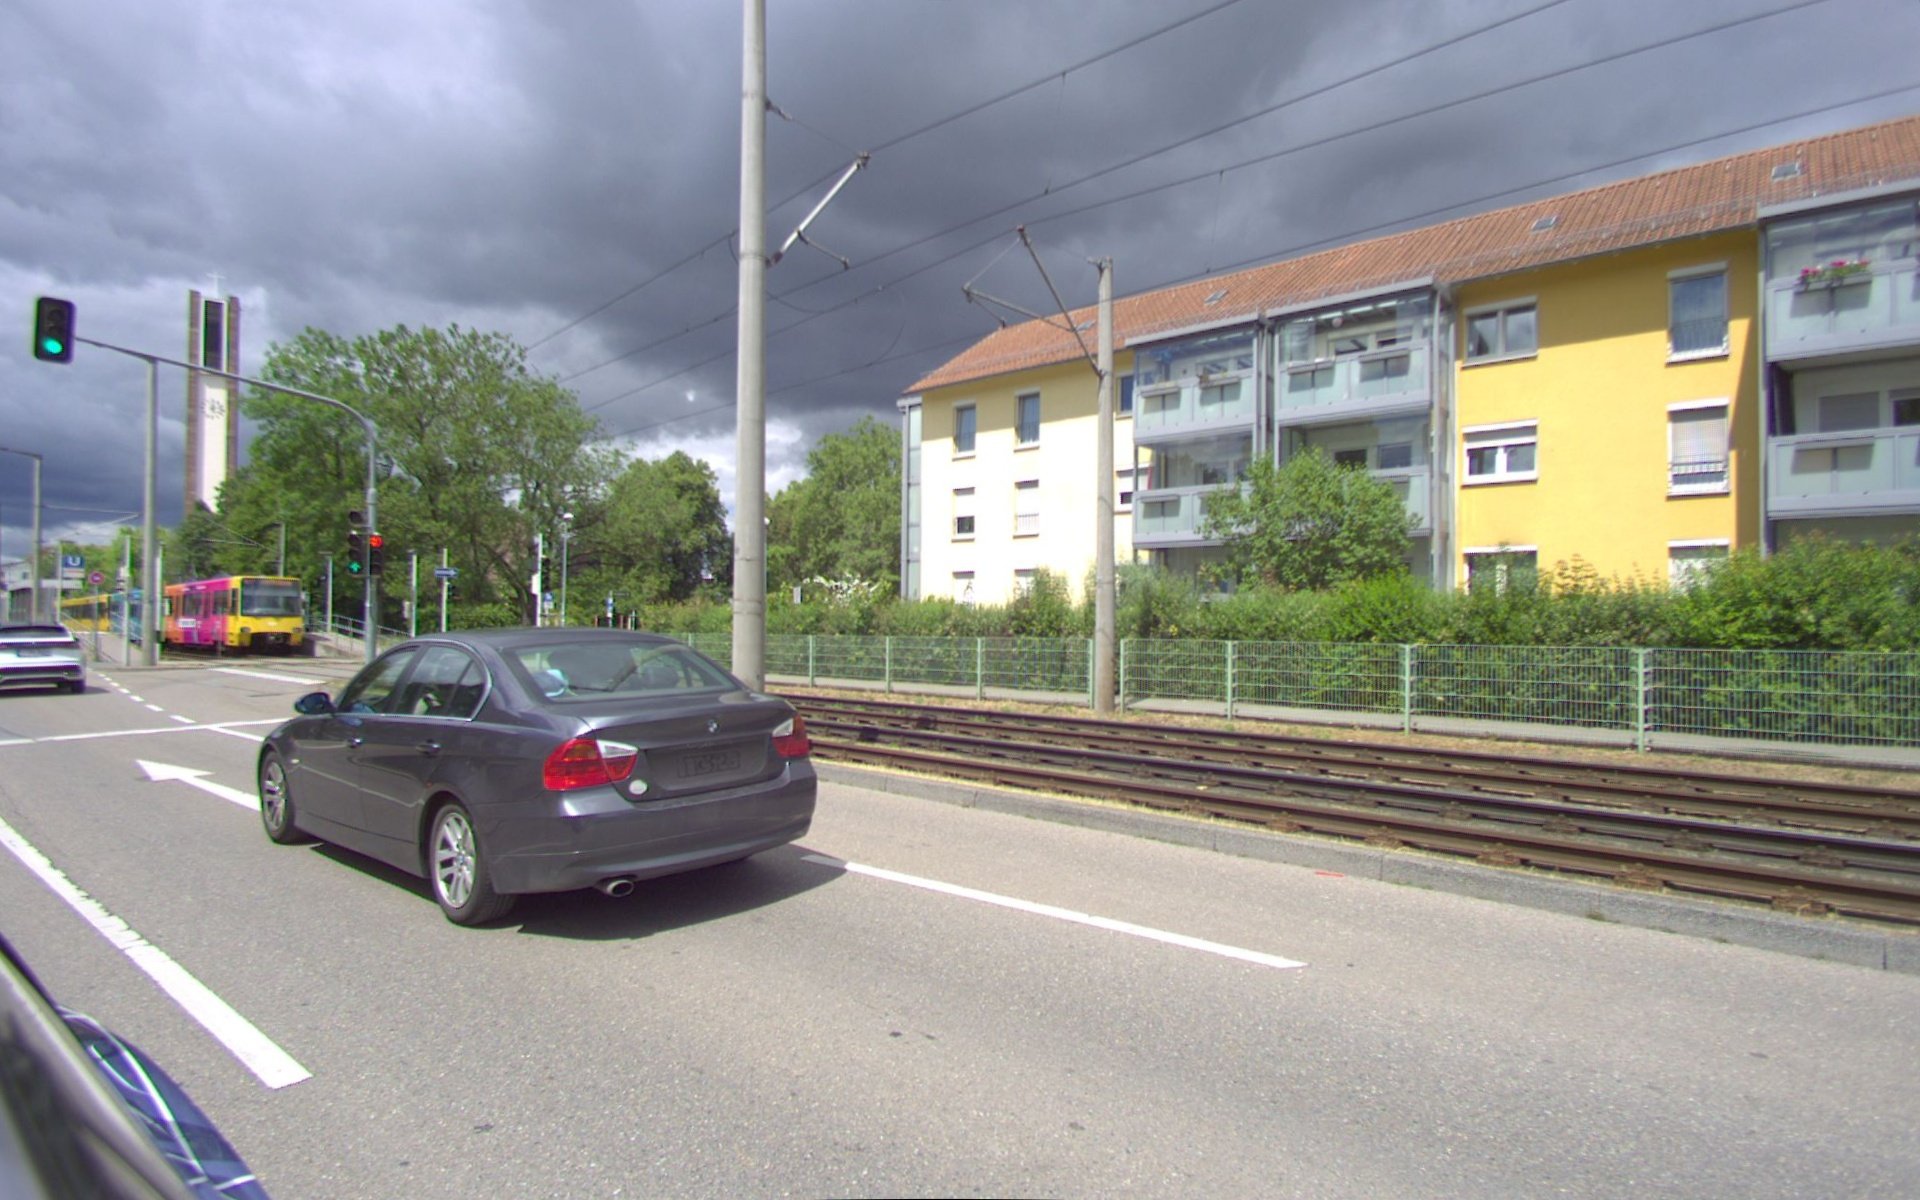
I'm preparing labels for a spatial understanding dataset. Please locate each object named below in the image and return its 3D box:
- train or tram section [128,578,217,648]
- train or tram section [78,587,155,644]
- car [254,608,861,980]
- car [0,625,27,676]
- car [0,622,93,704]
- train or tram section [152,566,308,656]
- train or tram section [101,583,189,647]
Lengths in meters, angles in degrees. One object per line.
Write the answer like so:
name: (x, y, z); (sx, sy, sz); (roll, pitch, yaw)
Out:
train or tram section: (-46.890, 0.760, 60.155); (8.379, 3.892, 2.948); (-1, 0, 43)
train or tram section: (-62.900, 1.146, 75.314); (12.202, 3.892, 2.948); (-1, 0, 43)
car: (-2.601, 0.800, 5.960); (4.165, 1.443, 1.611); (-1, -1, 41)
car: (-31.636, 1.622, 32.847); (3.999, 1.564, 1.645); (-1, 0, 42)
car: (-19.771, 1.263, 21.313); (3.998, 1.564, 1.742); (-1, -1, 41)
train or tram section: (-37.096, 0.581, 50.885); (18.540, 3.892, 2.948); (-1, 0, 43)
train or tram section: (-54.185, 0.987, 67.107); (11.787, 3.892, 2.948); (-1, 0, 43)
